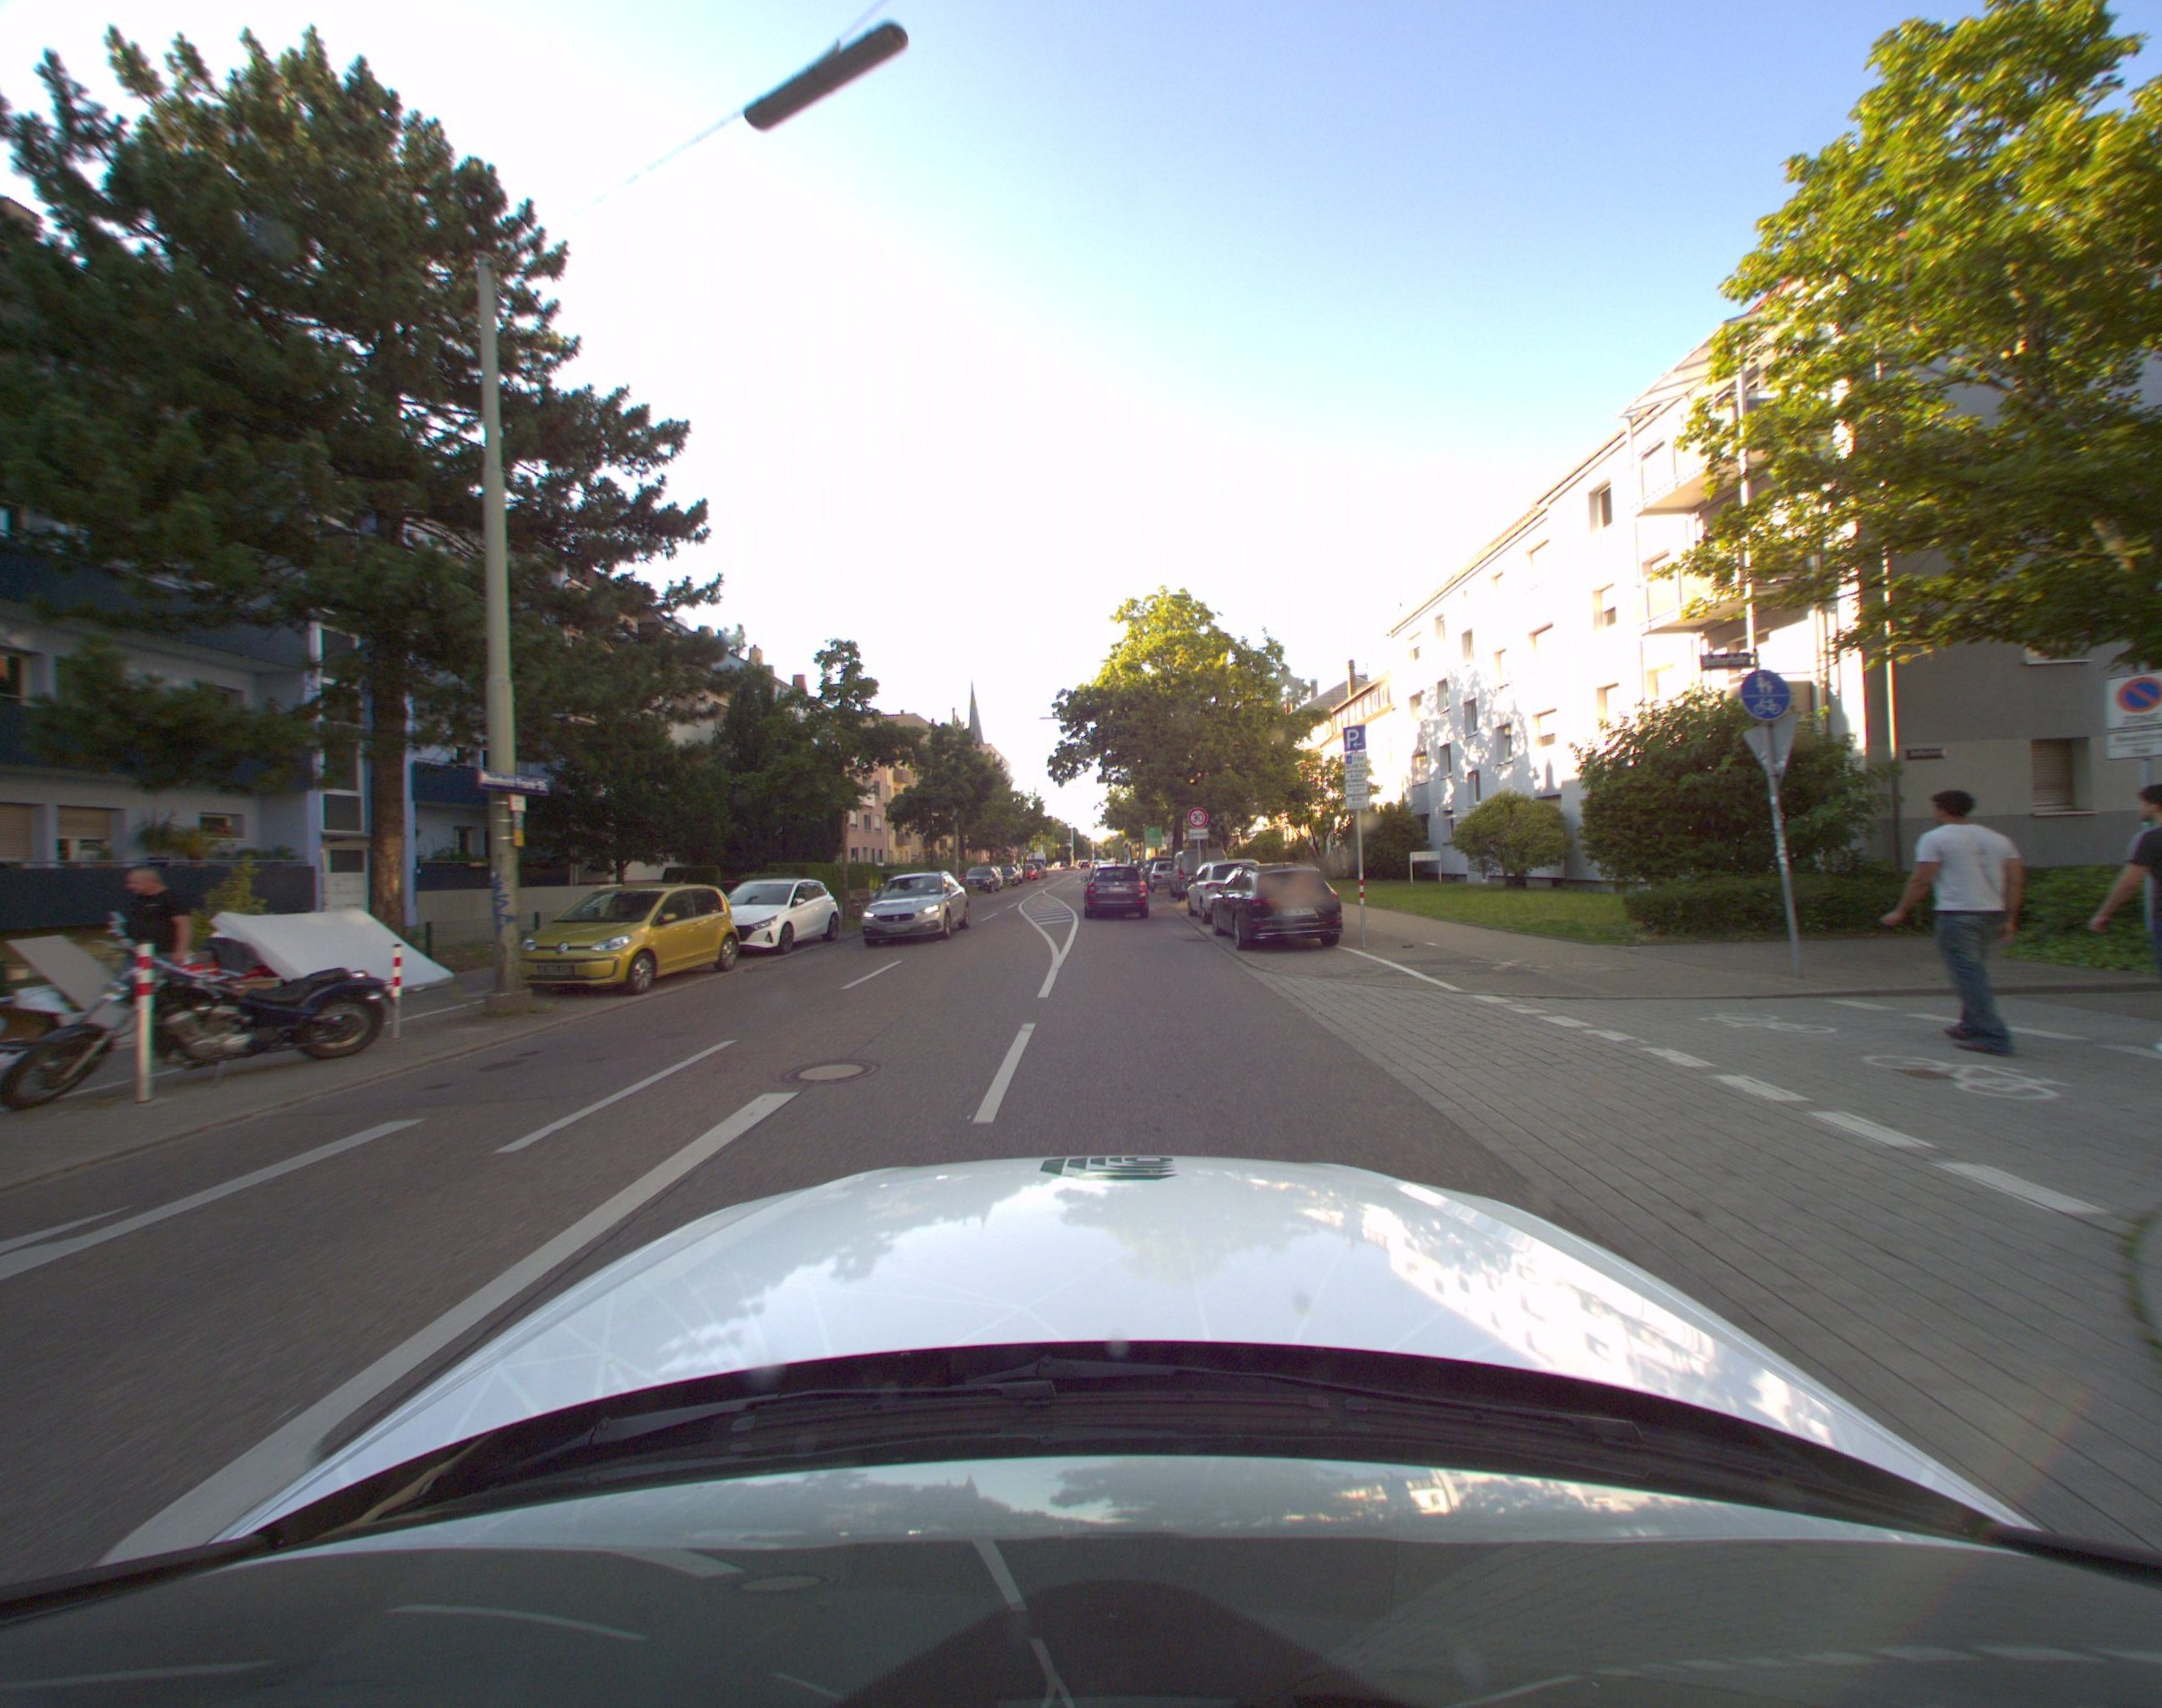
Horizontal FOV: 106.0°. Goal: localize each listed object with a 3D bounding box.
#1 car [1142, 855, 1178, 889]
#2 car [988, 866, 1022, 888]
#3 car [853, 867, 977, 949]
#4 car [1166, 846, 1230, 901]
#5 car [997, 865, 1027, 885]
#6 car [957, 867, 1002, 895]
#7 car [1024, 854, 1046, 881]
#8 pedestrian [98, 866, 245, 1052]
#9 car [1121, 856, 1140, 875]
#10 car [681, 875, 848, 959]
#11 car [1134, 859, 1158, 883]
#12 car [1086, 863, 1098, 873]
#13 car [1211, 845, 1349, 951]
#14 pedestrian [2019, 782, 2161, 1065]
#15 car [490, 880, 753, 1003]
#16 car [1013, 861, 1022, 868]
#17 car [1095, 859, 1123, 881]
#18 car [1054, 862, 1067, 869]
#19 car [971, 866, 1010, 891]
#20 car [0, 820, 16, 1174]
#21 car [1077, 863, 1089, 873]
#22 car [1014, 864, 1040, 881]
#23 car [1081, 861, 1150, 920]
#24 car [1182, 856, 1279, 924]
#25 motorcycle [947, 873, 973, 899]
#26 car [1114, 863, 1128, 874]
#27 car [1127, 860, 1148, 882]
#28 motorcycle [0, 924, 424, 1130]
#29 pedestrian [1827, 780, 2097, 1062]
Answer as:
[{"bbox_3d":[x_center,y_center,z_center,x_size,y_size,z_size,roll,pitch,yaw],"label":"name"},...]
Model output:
[{"bbox_3d":[4.199,0.923,43.775,1.747,1.715,4.003,0,-1,3],"label":"car"},{"bbox_3d":[-5.380,1.585,57.949,1.773,1.480,3.975,-1,-1,4],"label":"car"},{"bbox_3d":[-3.619,1.120,18.545,1.733,1.479,4.310,-5,-1,1],"label":"car"},{"bbox_3d":[4.376,0.717,31.241,1.908,1.860,5.637,-2,-1,3],"label":"car"},{"bbox_3d":[-5.358,1.590,63.650,1.773,1.480,3.975,-1,-1,4],"label":"car"},{"bbox_3d":[-5.614,1.466,45.430,1.773,1.480,4.037,-1,-1,4],"label":"car"},{"bbox_3d":[-4.845,1.379,86.693,1.984,2.781,5.504,0,-1,1],"label":"car"},{"bbox_3d":[-9.157,1.024,8.225,0.659,1.770,0.695,-2,-1,1],"label":"pedestrian"},{"bbox_3d":[4.870,1.152,79.826,1.747,1.806,4.002,0,-1,2],"label":"car"},{"bbox_3d":[-6.512,1.243,17.267,1.773,1.494,3.975,-1,-1,4],"label":"car"},{"bbox_3d":[4.985,1.298,63.070,1.747,1.806,4.003,0,-1,3],"label":"car"},{"bbox_3d":[1.830,2.268,131.045,1.776,1.480,3.968,0,-1,-2],"label":"car"},{"bbox_3d":[3.520,0.726,15.164,1.747,1.686,4.255,0,-1,3],"label":"car"},{"bbox_3d":[7.556,0.440,5.719,0.793,1.861,0.954,-3,-1,12],"label":"pedestrian"},{"bbox_3d":[-6.704,1.192,12.419,1.611,1.480,3.875,-1,-1,4],"label":"car"},{"bbox_3d":[-16.738,2.823,214.367,1.991,1.750,3.991,-2,-1,-6],"label":"car"},{"bbox_3d":[2.001,1.178,58.552,1.885,1.506,3.790,2,-2,1],"label":"car"},{"bbox_3d":[-4.874,2.659,192.891,1.652,1.599,3.572,-2,-1,-23],"label":"car"},{"bbox_3d":[-5.675,1.494,51.513,1.773,1.480,3.975,-1,-1,4],"label":"car"},{"bbox_3d":[-7.192,0.815,2.101,1.862,2.031,5.301,-1,-1,1],"label":"car"},{"bbox_3d":[0.449,2.712,158.657,1.989,1.750,3.994,-2,-1,-4],"label":"car"},{"bbox_3d":[-4.870,1.669,74.117,1.773,1.480,3.975,-1,-1,4],"label":"car"},{"bbox_3d":[1.002,0.962,22.884,1.747,1.492,4.003,0,-1,3],"label":"car"},{"bbox_3d":[3.690,0.852,20.821,1.748,1.557,4.104,0,-1,0],"label":"car"},{"bbox_3d":[-5.845,1.518,39.470,0.736,1.204,2.144,-1,-1,4],"label":"motorcycle"},{"bbox_3d":[6.108,2.214,124.024,1.641,1.599,3.645,-2,-1,-4],"label":"car"},{"bbox_3d":[5.133,1.508,74.479,1.747,1.806,4.003,-4,-1,3],"label":"car"},{"bbox_3d":[-7.097,1.311,6.867,0.653,1.204,2.345,-3,0,22],"label":"motorcycle"},{"bbox_3d":[6.428,0.454,6.025,0.746,1.861,1.068,-3,-1,1],"label":"pedestrian"}]
